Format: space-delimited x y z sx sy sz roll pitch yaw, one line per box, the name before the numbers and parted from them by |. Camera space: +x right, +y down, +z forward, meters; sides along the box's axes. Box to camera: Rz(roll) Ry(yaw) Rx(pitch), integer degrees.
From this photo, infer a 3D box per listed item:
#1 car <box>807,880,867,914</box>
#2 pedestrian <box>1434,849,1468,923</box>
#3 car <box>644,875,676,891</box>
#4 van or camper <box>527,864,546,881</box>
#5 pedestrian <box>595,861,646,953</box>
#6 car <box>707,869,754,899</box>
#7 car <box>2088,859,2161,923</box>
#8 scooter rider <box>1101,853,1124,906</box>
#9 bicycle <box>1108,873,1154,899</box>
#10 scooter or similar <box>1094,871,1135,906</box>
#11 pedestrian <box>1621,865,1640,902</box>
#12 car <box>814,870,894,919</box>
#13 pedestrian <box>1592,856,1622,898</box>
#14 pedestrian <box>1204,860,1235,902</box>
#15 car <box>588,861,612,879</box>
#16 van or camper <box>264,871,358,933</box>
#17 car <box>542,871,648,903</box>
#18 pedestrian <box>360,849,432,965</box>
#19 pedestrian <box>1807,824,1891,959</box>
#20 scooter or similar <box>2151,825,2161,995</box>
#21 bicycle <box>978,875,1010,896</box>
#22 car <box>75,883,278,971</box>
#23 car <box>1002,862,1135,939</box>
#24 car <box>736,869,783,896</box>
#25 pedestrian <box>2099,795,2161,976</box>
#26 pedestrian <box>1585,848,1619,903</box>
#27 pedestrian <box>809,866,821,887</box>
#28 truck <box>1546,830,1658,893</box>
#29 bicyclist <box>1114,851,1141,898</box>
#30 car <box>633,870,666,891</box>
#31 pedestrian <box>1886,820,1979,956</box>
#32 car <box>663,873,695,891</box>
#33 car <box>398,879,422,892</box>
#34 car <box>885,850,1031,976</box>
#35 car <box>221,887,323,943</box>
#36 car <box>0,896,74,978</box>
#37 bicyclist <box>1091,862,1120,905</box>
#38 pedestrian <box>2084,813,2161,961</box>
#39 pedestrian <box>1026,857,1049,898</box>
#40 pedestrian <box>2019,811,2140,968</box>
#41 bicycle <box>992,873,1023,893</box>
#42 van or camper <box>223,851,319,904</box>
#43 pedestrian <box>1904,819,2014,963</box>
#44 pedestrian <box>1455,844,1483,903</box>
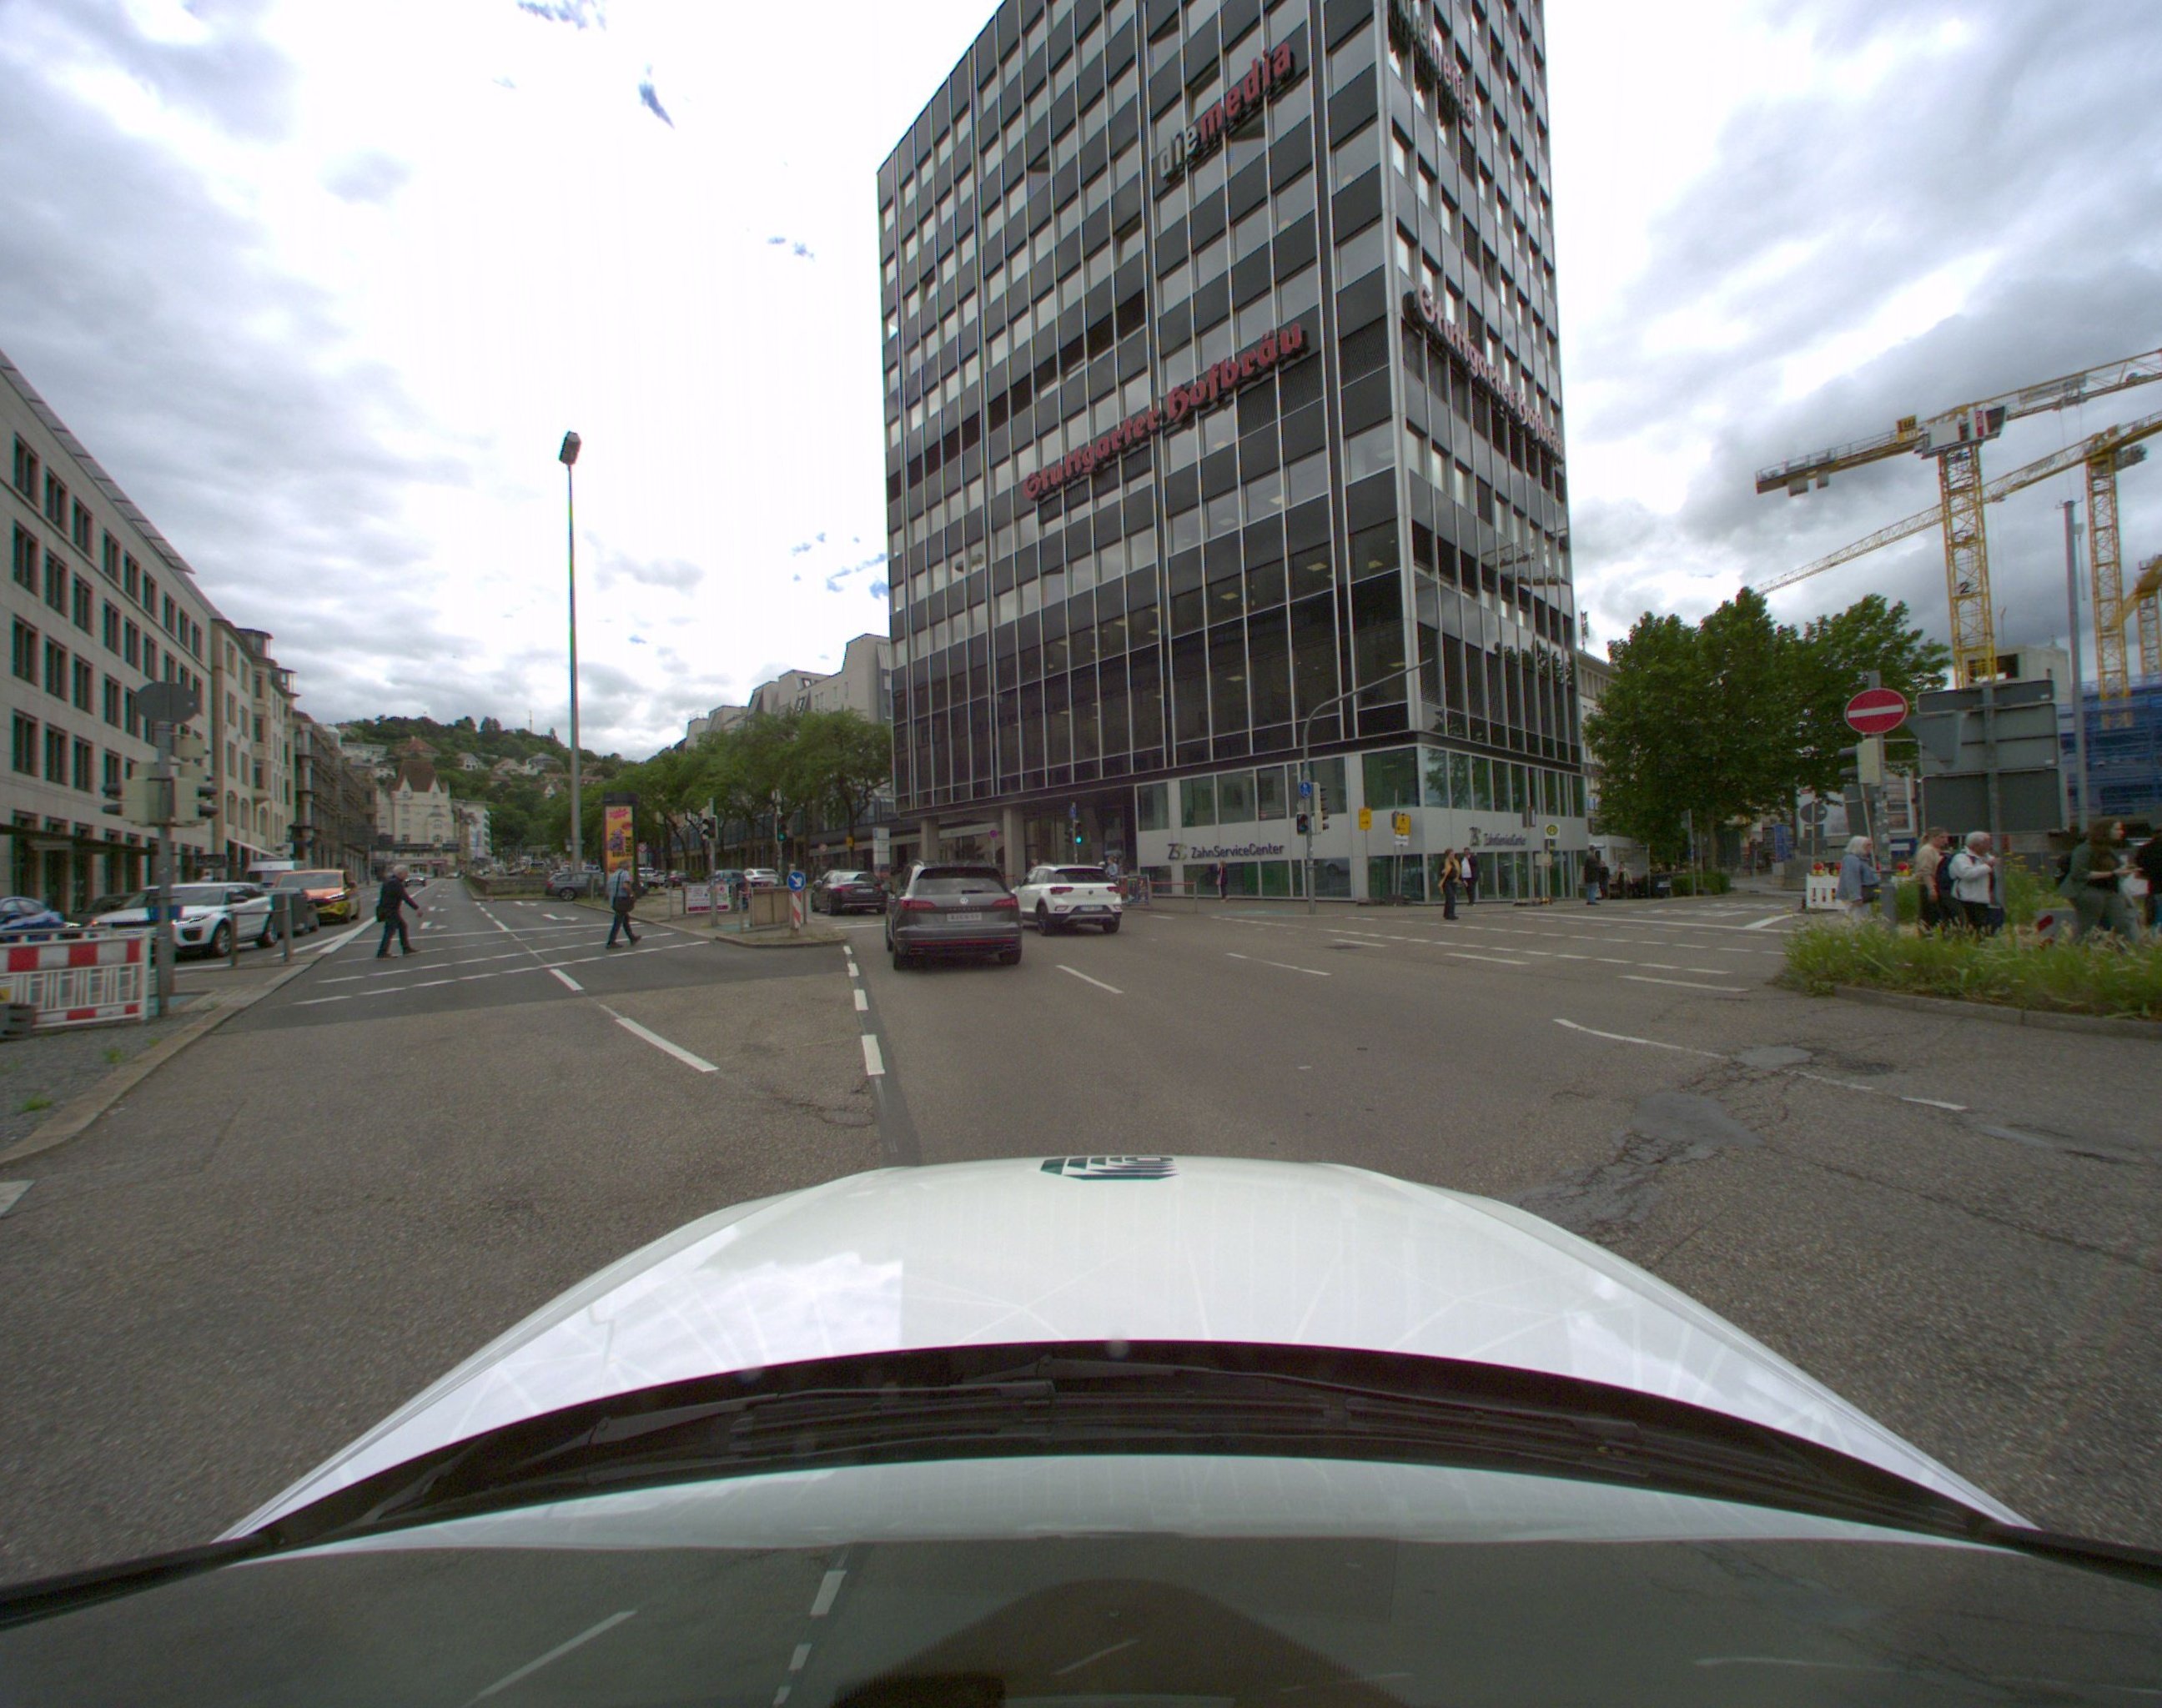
car | -12.038 2.063 39.984 1.845 1.432 4.106 0 0 -31
pedestrian | 8.814 0.751 19.422 0.542 1.698 0.804 -2 -1 12
car | -39.827 2.740 77.024 2.072 1.418 4.286 -2 0 -35
van or camper | -105.756 3.539 158.145 2.648 3.179 5.737 0 -1 -38
pedestrian | -9.423 1.059 16.662 0.721 1.790 0.627 -5 3 -38
car | -19.197 1.613 44.535 1.844 1.517 3.729 -2 -1 -31
car | 26.972 0.861 19.907 1.814 1.466 4.025 -2 -2 34
scooter rider | 1.097 0.893 28.422 0.637 1.809 0.595 -3 -1 10
bicycle | 1.990 1.266 32.368 1.745 1.007 0.685 -2 -1 43
scooter or similar | 1.165 1.202 28.407 1.311 1.176 0.595 -3 -1 10
pedestrian | 23.043 1.235 34.166 0.511 1.534 0.557 -2 -2 44
car | -7.633 1.285 27.164 1.843 1.395 4.111 0 0 -26
pedestrian | 22.338 0.984 34.582 0.863 1.747 0.852 -2 -2 44
pedestrian | 4.933 0.953 29.037 0.609 1.443 0.829 -2 -1 -42
car | -55.495 1.871 93.931 1.846 1.874 4.816 -2 -1 -36
van or camper | -27.380 1.643 29.115 1.929 1.921 5.025 -2 0 -38
car | -24.737 1.637 41.629 4.579 1.458 1.863 -1 -1 -30
pedestrian | -13.304 0.993 15.822 0.753 2.172 0.884 -2 -1 34
pedestrian | 10.961 0.522 11.644 0.694 1.862 0.673 -2 -2 31
scooter or similar | 9.504 0.439 5.942 1.863 1.407 0.782 -2 -2 36
bicycle | -4.504 1.606 42.041 1.467 1.048 0.718 -2 -1 31
car | -19.523 1.467 17.836 1.745 1.598 4.276 -1 -1 -30
car | -0.415 1.015 19.131 1.805 1.545 3.906 -2 -1 -22
car | -19.625 1.726 49.613 1.846 1.517 3.726 -2 -1 -34
pedestrian | 11.999 0.338 9.034 0.635 1.965 0.614 -2 -2 29
pedestrian | 16.268 0.674 25.448 0.591 1.679 0.632 -1 -1 -23
pedestrian | -22.562 1.931 69.125 0.601 1.754 0.929 -1 -1 -43
truck | 27.402 0.395 42.684 8.239 3.064 2.318 0 -2 -38
bicyclist | 1.857 0.827 32.506 0.803 1.846 0.679 -3 -1 42
car | -33.428 2.039 63.024 1.846 1.567 3.726 -2 -1 -34
pedestrian | 11.868 0.462 11.377 0.694 1.816 0.673 -2 -2 31
car | -32.090 2.235 65.008 1.845 1.363 3.728 -2 -1 -33
car | -79.874 3.755 96.890 1.935 1.527 4.486 0 -1 -42
car | -2.222 0.843 13.659 1.973 1.695 4.203 -2 0 -14
car | -23.357 1.711 23.624 1.569 1.379 3.592 -2 0 -37
car | -22.656 1.690 16.410 2.009 1.525 4.046 -1 -1 -36
bicyclist | 0.899 1.080 29.757 0.836 1.549 0.569 -3 -1 23
pedestrian | 12.474 0.378 9.570 0.635 1.696 0.614 -2 -2 29
pedestrian | -1.864 1.009 34.838 0.529 1.711 0.744 -2 -2 -43
pedestrian | 11.236 0.392 9.193 0.635 1.696 0.614 -2 -2 29
bicycle | -3.849 1.520 42.559 1.467 1.048 0.718 -2 -1 31
van or camper | -44.927 1.288 45.370 3.026 2.726 6.174 0 -1 -38
pedestrian | 11.240 0.465 10.453 0.754 1.762 0.673 -2 -2 31
pedestrian | 11.672 0.588 24.494 0.629 1.748 0.594 -2 -1 36
